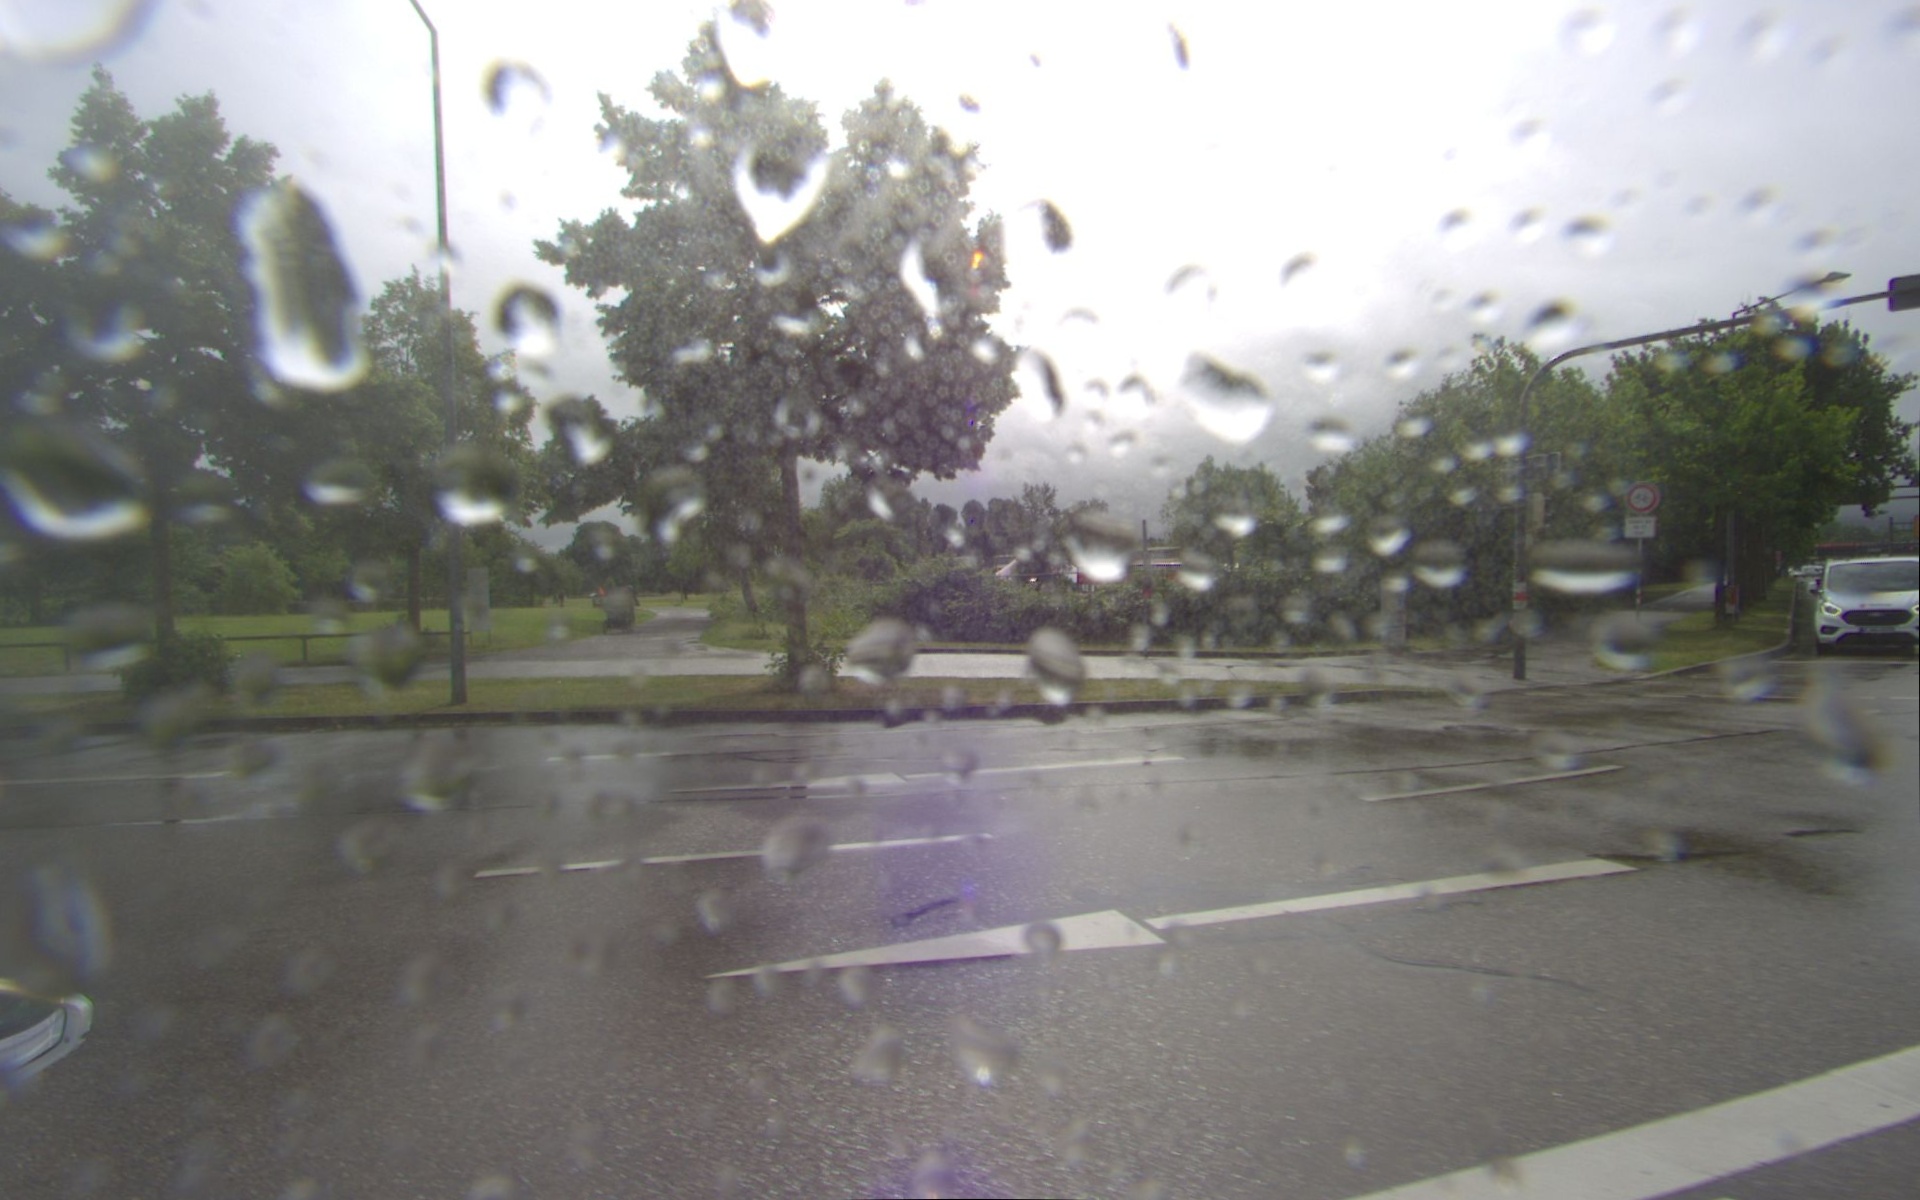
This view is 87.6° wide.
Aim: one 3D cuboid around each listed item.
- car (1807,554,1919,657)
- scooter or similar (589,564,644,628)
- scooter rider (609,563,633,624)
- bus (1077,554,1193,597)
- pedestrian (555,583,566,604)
[{"bbox_3d":[19.971,0.079,21.803,2.056,2.014,4.756,1,2,44],"label":"car"},{"bbox_3d":[-11.582,-0.092,33.895,1.216,2.040,3.407,-1,-1,-10],"label":"scooter or similar"},{"bbox_3d":[-11.623,-0.207,34.341,0.693,2.040,0.769,-1,0,-14],"label":"scooter rider"},{"bbox_3d":[16.248,-2.237,93.749,10.834,3.505,1.989,-2,-1,33],"label":"bus"},{"bbox_3d":[-33.327,-0.547,83.595,0.591,1.754,0.602,-1,0,33],"label":"pedestrian"}]
